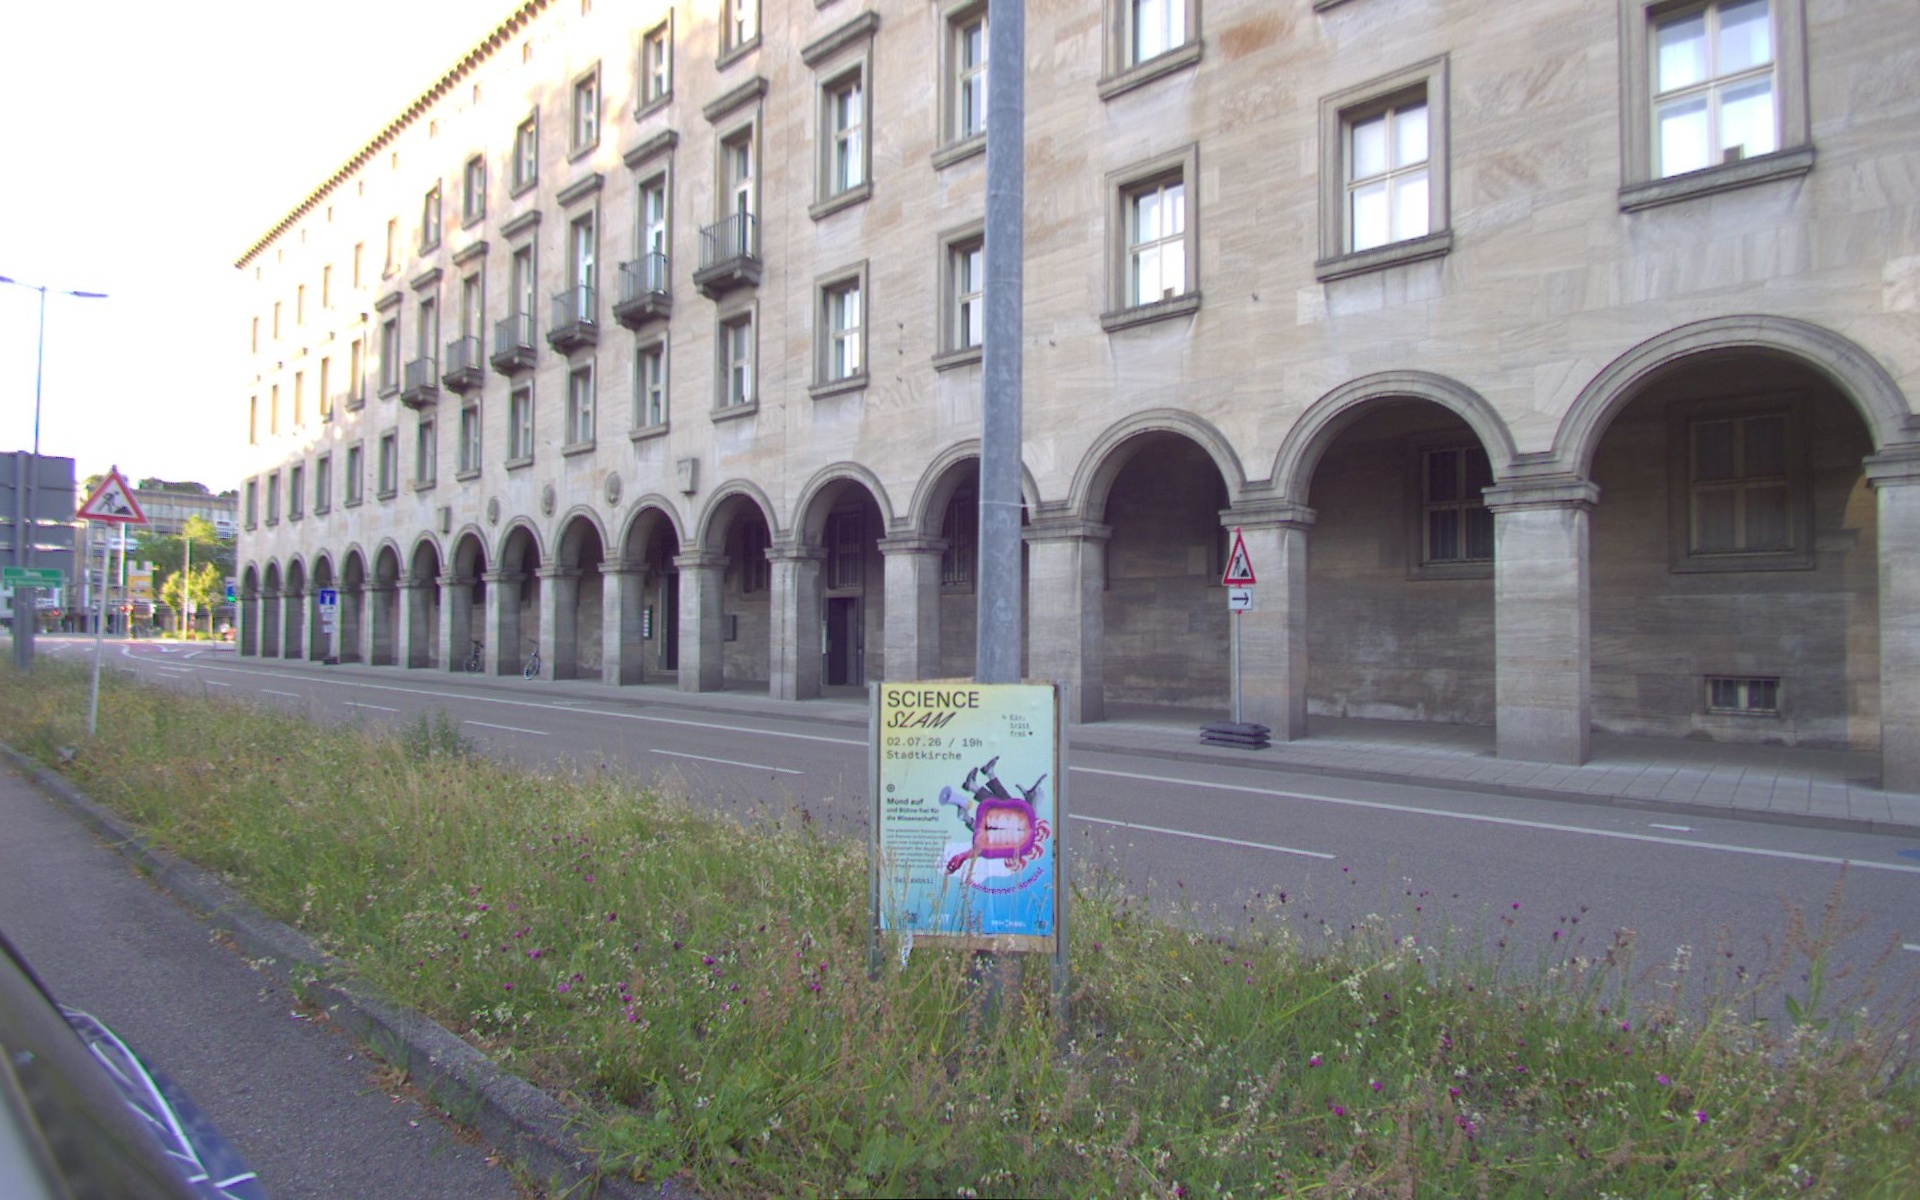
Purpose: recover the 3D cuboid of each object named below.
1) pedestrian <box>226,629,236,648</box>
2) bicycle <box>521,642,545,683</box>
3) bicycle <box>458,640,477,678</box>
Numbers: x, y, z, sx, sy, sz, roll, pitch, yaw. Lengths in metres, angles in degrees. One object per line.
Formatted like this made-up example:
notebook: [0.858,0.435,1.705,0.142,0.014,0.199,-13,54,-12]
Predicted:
pedestrian: [-57.879,3.046,80.349,0.389,1.553,0.519,-2,-3,41]
bicycle: [-12.799,1.845,30.392,0.505,1.130,2.431,1,-1,-20]
bicycle: [-16.146,1.905,33.197,0.505,1.188,2.431,1,-2,-25]
